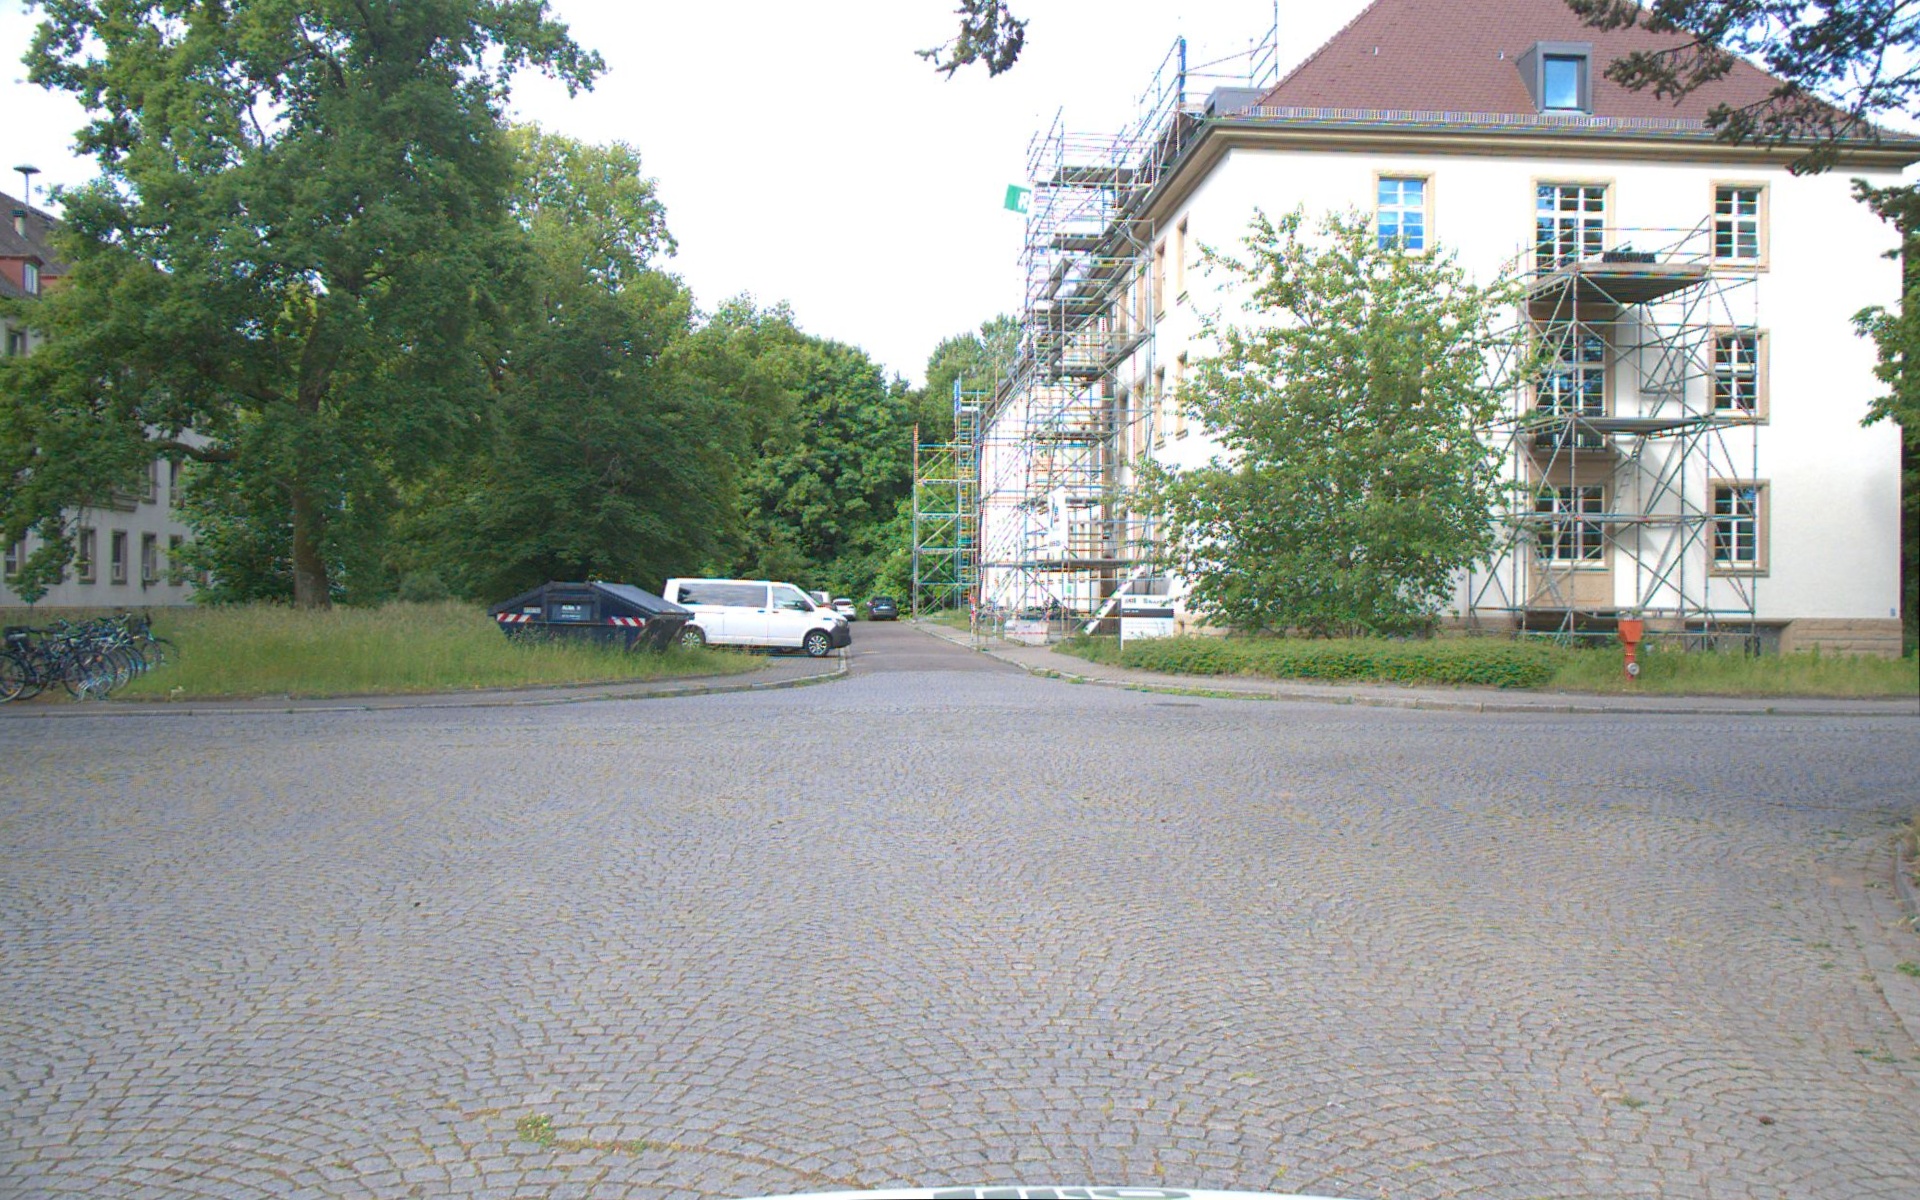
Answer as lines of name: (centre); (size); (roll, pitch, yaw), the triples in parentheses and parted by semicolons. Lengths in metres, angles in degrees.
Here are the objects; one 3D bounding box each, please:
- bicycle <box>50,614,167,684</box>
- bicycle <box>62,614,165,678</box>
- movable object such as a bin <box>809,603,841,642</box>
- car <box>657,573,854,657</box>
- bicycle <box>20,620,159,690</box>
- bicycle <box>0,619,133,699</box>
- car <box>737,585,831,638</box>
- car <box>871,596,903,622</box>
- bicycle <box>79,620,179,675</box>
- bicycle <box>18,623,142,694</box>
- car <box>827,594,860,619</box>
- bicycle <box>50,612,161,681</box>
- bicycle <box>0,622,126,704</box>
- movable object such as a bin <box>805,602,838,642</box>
bicycle: (-14.824, 0.837, 28.845); (1.747, 1.124, 0.538); (-1, 2, -24)
bicycle: (-15.268, 0.814, 29.849); (1.595, 1.077, 0.523); (-1, 2, -24)
movable object such as a bin: (-5.257, 0.867, 64.321); (1.160, 1.432, 0.974); (3, -1, -4)
car: (-5.452, 0.416, 44.544); (5.099, 2.096, 2.186); (1, -1, -5)
bicycle: (-14.214, 0.885, 27.060); (1.928, 1.022, 0.681); (-1, 2, -24)
bicycle: (-13.811, 0.902, 25.553); (1.769, 1.122, 0.698); (-1, 2, -24)
car: (-7.690, 0.511, 71.995); (3.913, 2.049, 1.918); (3, -1, -9)
car: (-4.876, 0.628, 111.067); (2.022, 1.621, 3.998); (3, -1, -2)
bicycle: (-15.276, 0.858, 30.435); (1.595, 0.926, 0.523); (-1, 2, -24)
bicycle: (-13.958, 0.915, 26.280); (1.668, 1.019, 0.628); (-1, 2, -24)
car: (-7.808, 0.465, 110.490); (1.963, 1.575, 3.952); (3, -1, -7)
bicycle: (-15.126, 0.806, 29.311); (1.674, 1.135, 0.538); (-1, 2, -24)
bicycle: (-13.558, 0.934, 24.875); (1.744, 1.122, 0.698); (-1, 2, -24)
movable object such as a bin: (-5.278, 0.845, 63.180); (1.160, 1.432, 0.974); (3, -1, -4)
